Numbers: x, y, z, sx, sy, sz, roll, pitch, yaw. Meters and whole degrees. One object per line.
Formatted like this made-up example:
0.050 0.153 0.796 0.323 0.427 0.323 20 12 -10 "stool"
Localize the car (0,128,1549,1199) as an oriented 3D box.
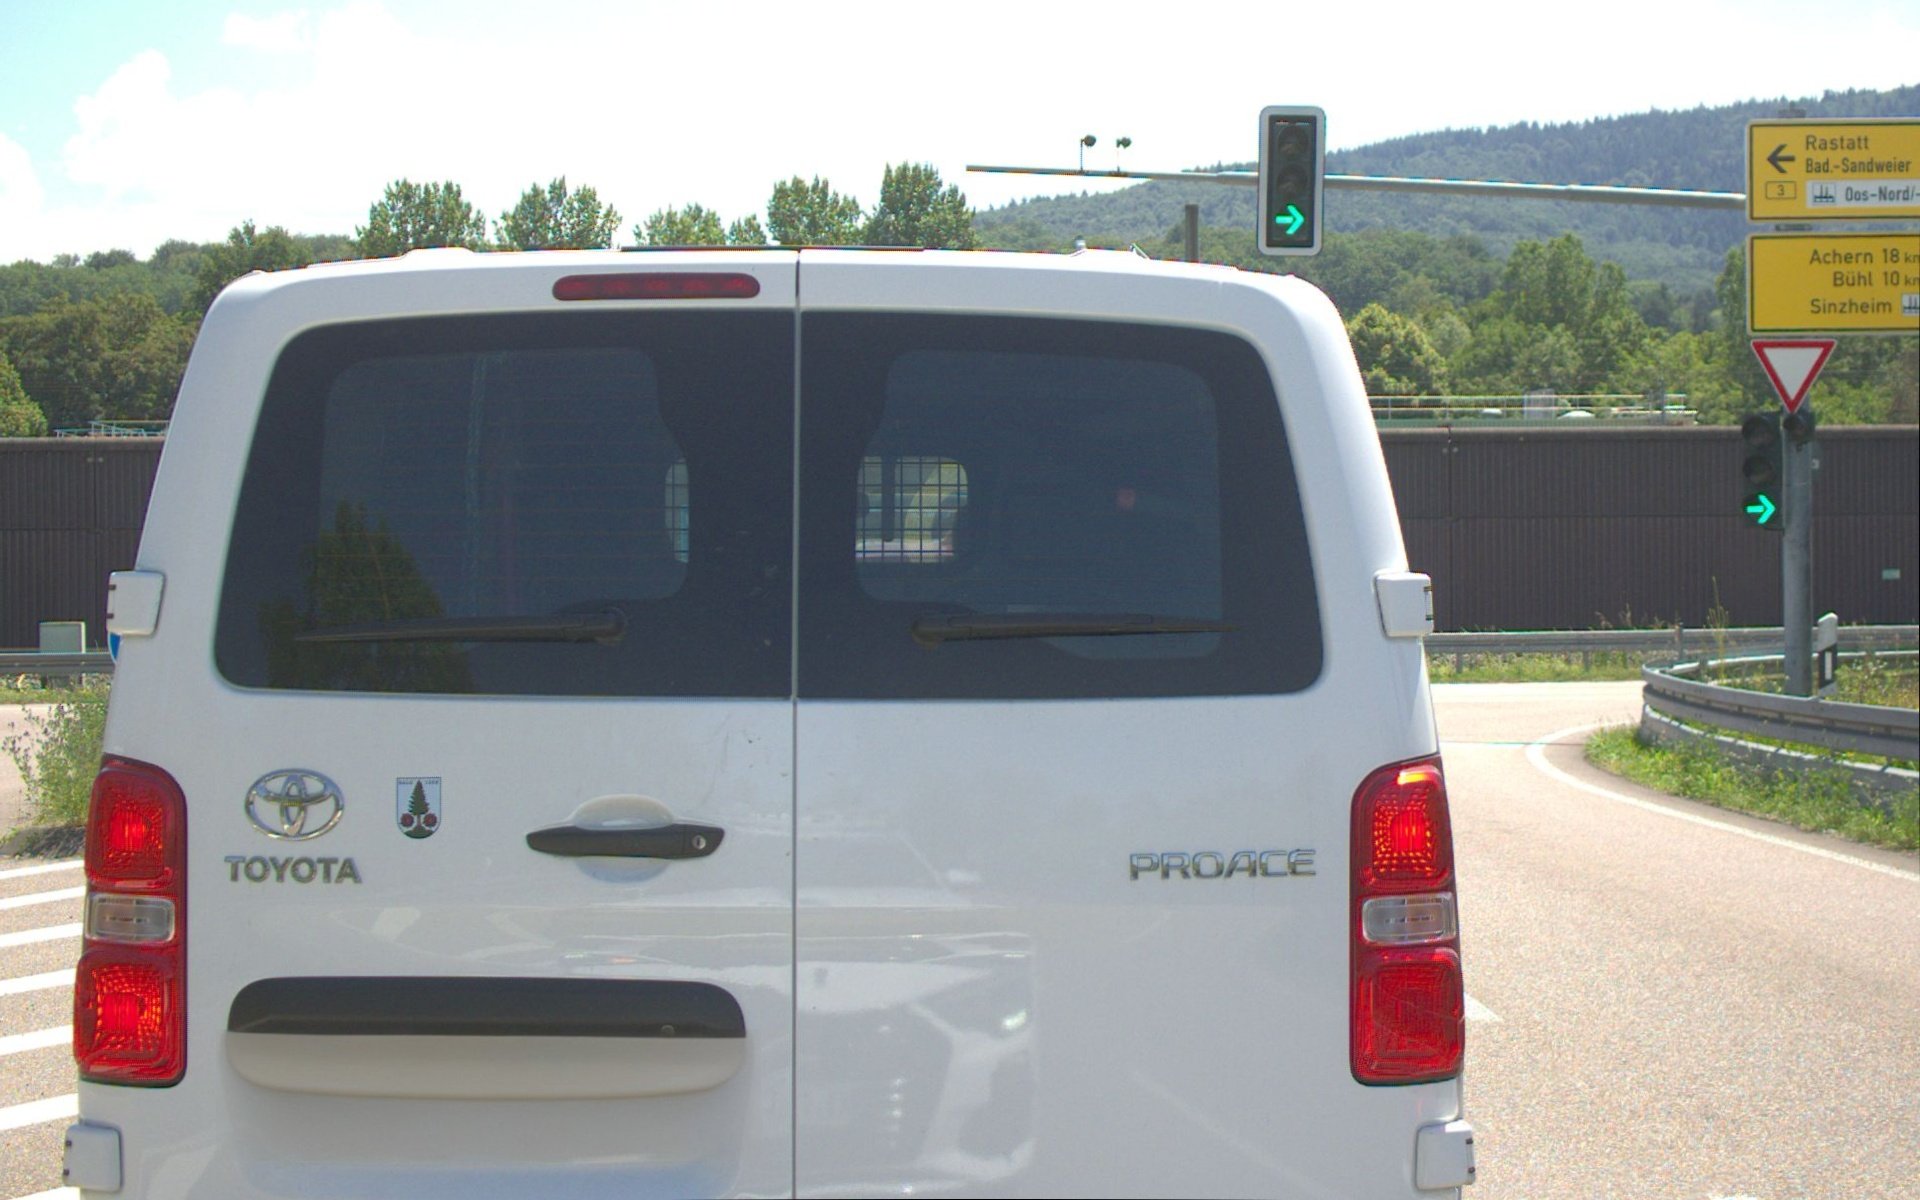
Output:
-0.248 0.440 6.007 1.814 2.011 4.000 0 1 -1 "car"
